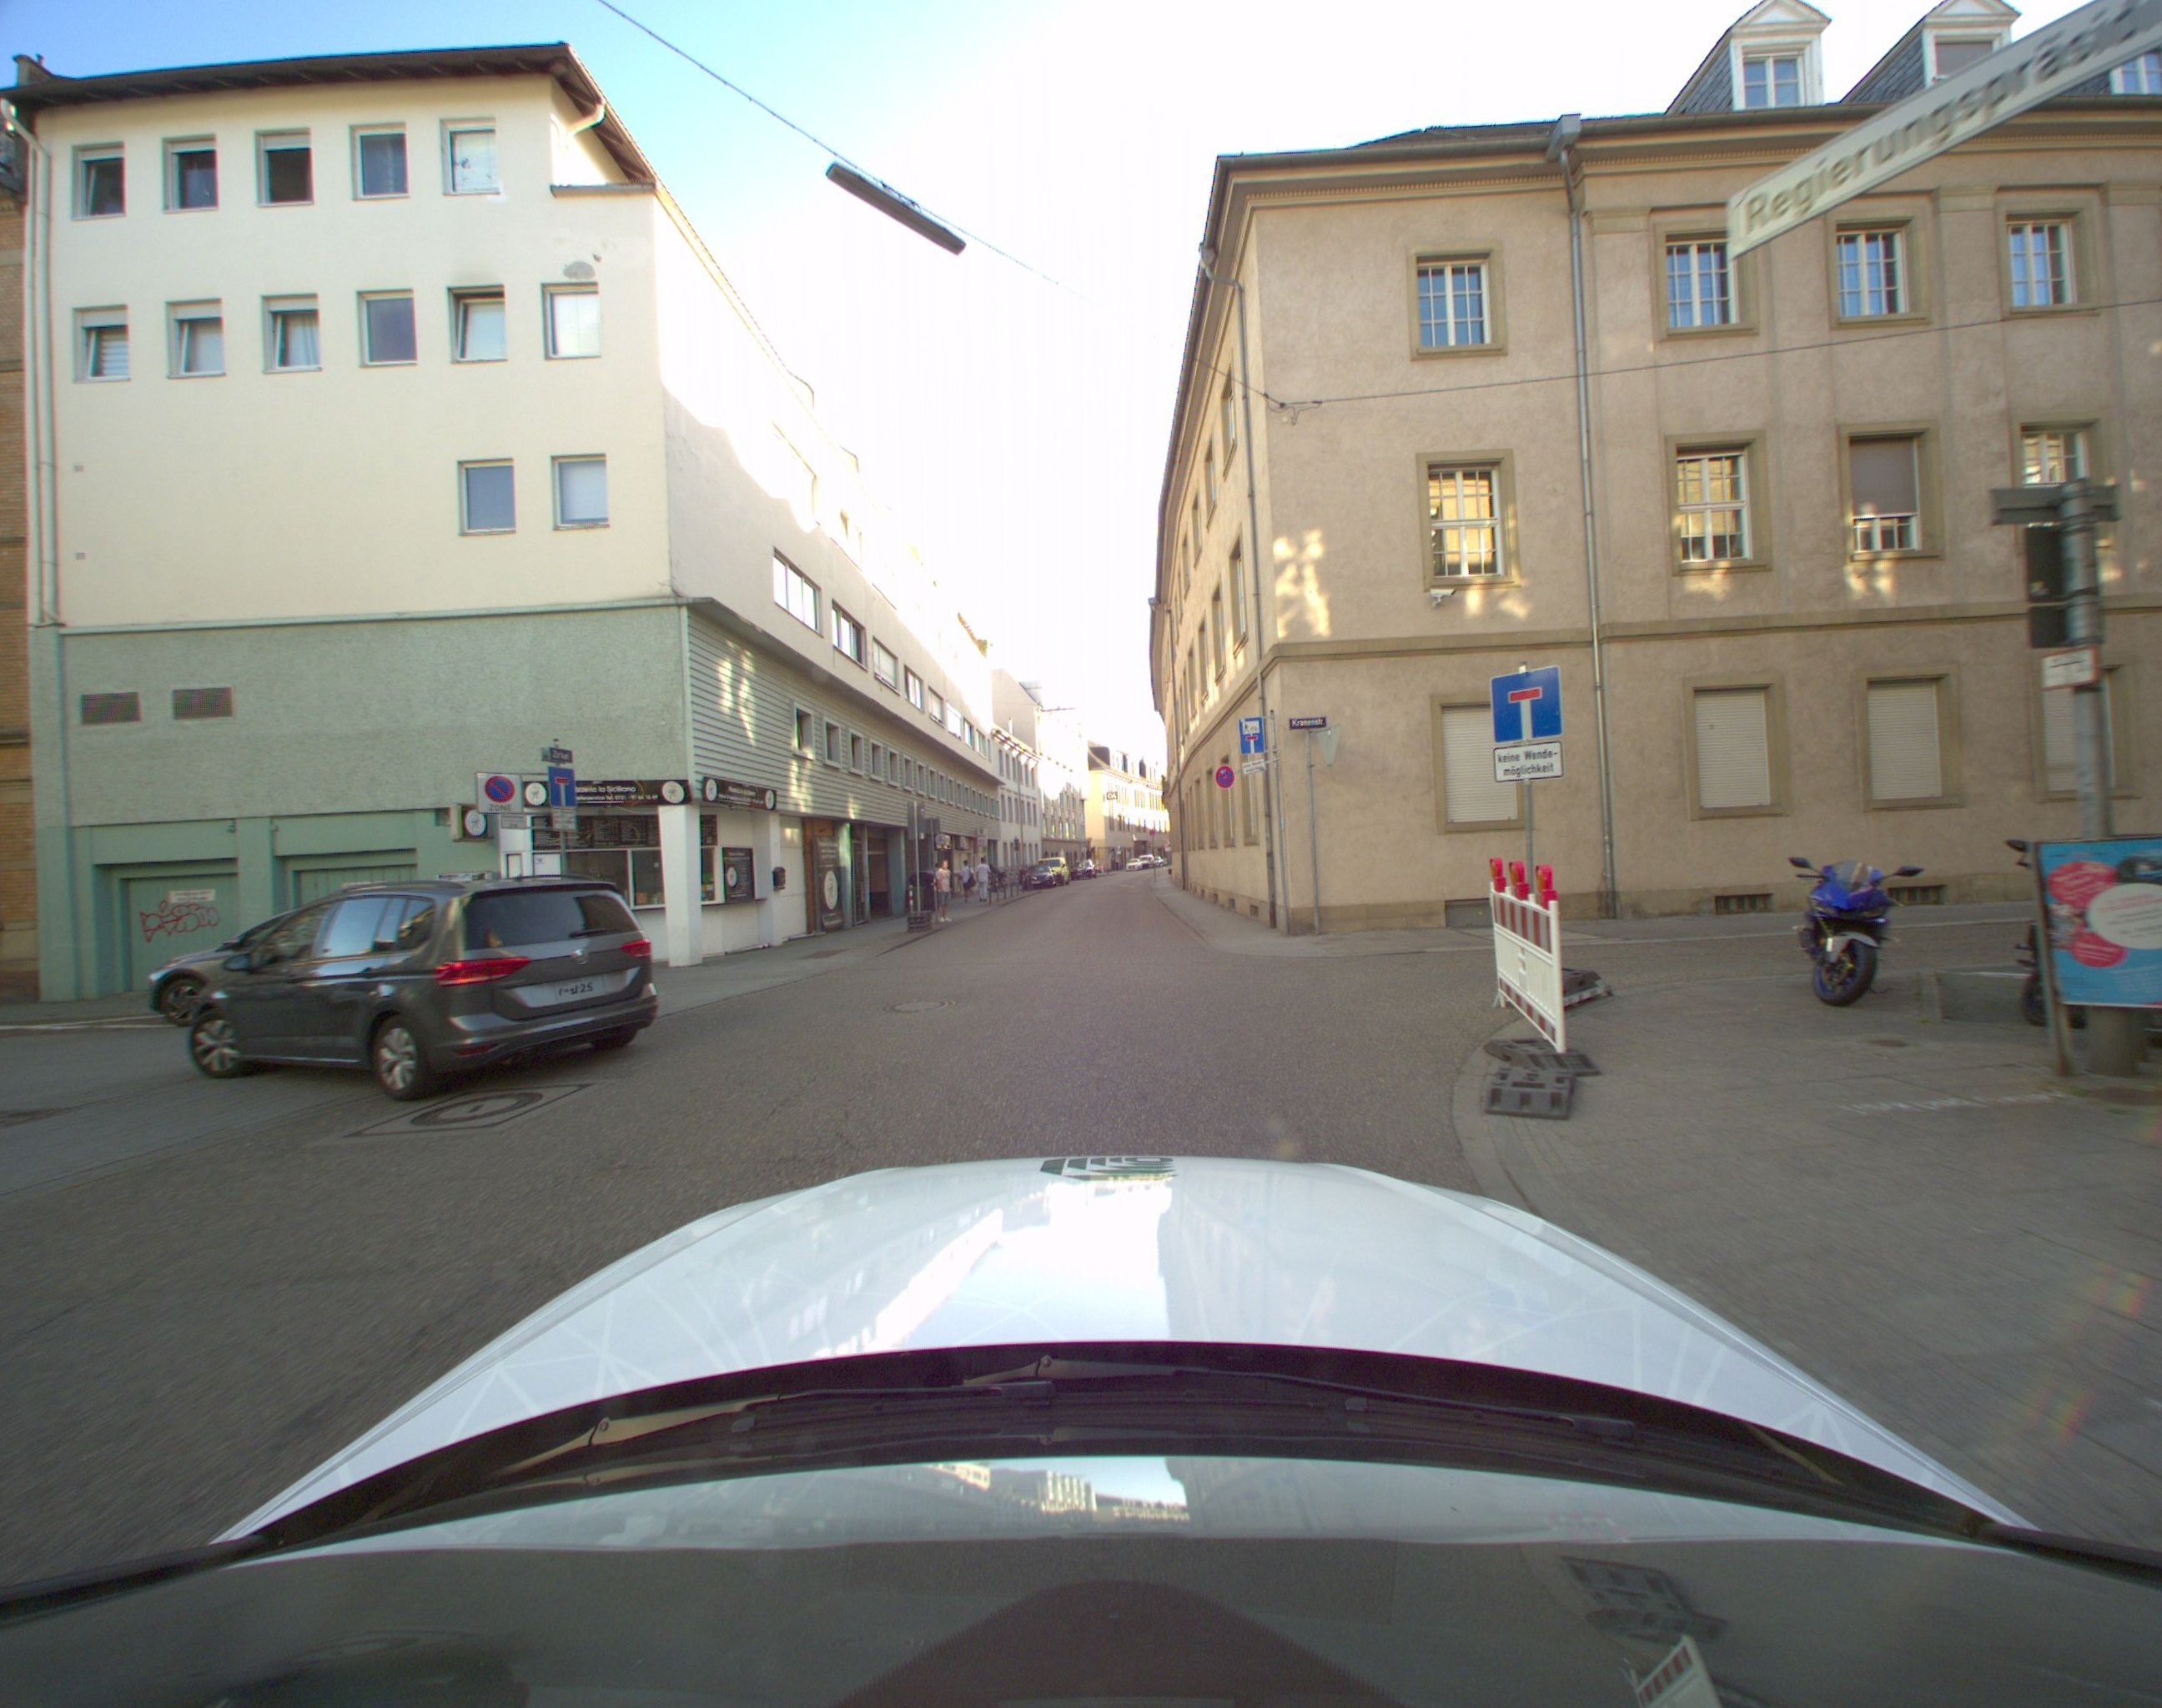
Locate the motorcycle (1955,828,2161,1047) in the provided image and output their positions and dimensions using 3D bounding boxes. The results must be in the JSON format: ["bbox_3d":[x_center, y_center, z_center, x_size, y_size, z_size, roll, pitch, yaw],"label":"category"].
[{"bbox_3d":[6.633,0.453,4.571,0.675,1.244,2.291,-1,-1,-42],"label":"motorcycle"}]

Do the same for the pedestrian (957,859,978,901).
[{"bbox_3d":[-4.667,1.045,33.376,0.709,1.684,0.480,-3,-1,1],"label":"pedestrian"}]

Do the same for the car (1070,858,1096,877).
[{"bbox_3d":[0.230,1.147,71.158,1.856,1.468,3.840,-2,0,6],"label":"car"}]

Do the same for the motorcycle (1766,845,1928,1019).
[{"bbox_3d":[6.413,0.561,6.935,0.662,1.244,2.205,-3,-1,36],"label":"motorcycle"}]

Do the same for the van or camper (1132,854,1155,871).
[{"bbox_3d":[8.232,1.070,107.122,1.978,2.013,5.020,-3,0,17],"label":"van or camper"}]

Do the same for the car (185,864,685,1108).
[{"bbox_3d":[-5.672,0.995,7.144,3.951,1.607,1.778,-3,-1,24],"label":"car"}]

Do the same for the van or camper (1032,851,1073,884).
[{"bbox_3d":[-1.875,0.874,54.990,1.983,2.013,4.491,-3,0,7],"label":"van or camper"}]

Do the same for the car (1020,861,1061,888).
[{"bbox_3d":[-2.420,1.216,49.255,1.856,1.468,3.840,-2,0,6],"label":"car"}]

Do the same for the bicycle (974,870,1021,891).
[{"bbox_3d":[-4.705,1.476,45.743,2.517,1.054,0.838,-3,0,26],"label":"bicycle"}]

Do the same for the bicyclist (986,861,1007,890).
[{"bbox_3d":[-4.739,1.224,45.761,0.750,1.561,0.838,-3,0,26],"label":"bicyclist"}]

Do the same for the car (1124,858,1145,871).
[{"bbox_3d":[6.691,1.258,101.372,1.721,1.468,4.016,-3,0,15],"label":"car"}]

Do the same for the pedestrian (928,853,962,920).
[{"bbox_3d":[-3.786,0.896,22.745,0.550,1.829,0.735,-3,-1,24],"label":"pedestrian"}]

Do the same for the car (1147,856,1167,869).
[{"bbox_3d":[10.573,1.191,113.371,1.811,1.726,4.019,-3,0,18],"label":"car"}]

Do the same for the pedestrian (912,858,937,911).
[{"bbox_3d":[-5.551,1.089,28.908,0.726,1.829,0.557,-3,-1,0],"label":"pedestrian"}]

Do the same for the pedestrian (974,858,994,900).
[{"bbox_3d":[-3.971,1.008,33.366,0.660,1.684,0.480,-3,-1,1],"label":"pedestrian"}]

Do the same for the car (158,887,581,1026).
[{"bbox_3d":[-9.584,1.338,11.239,4.082,1.443,1.949,-3,0,2],"label":"car"}]
